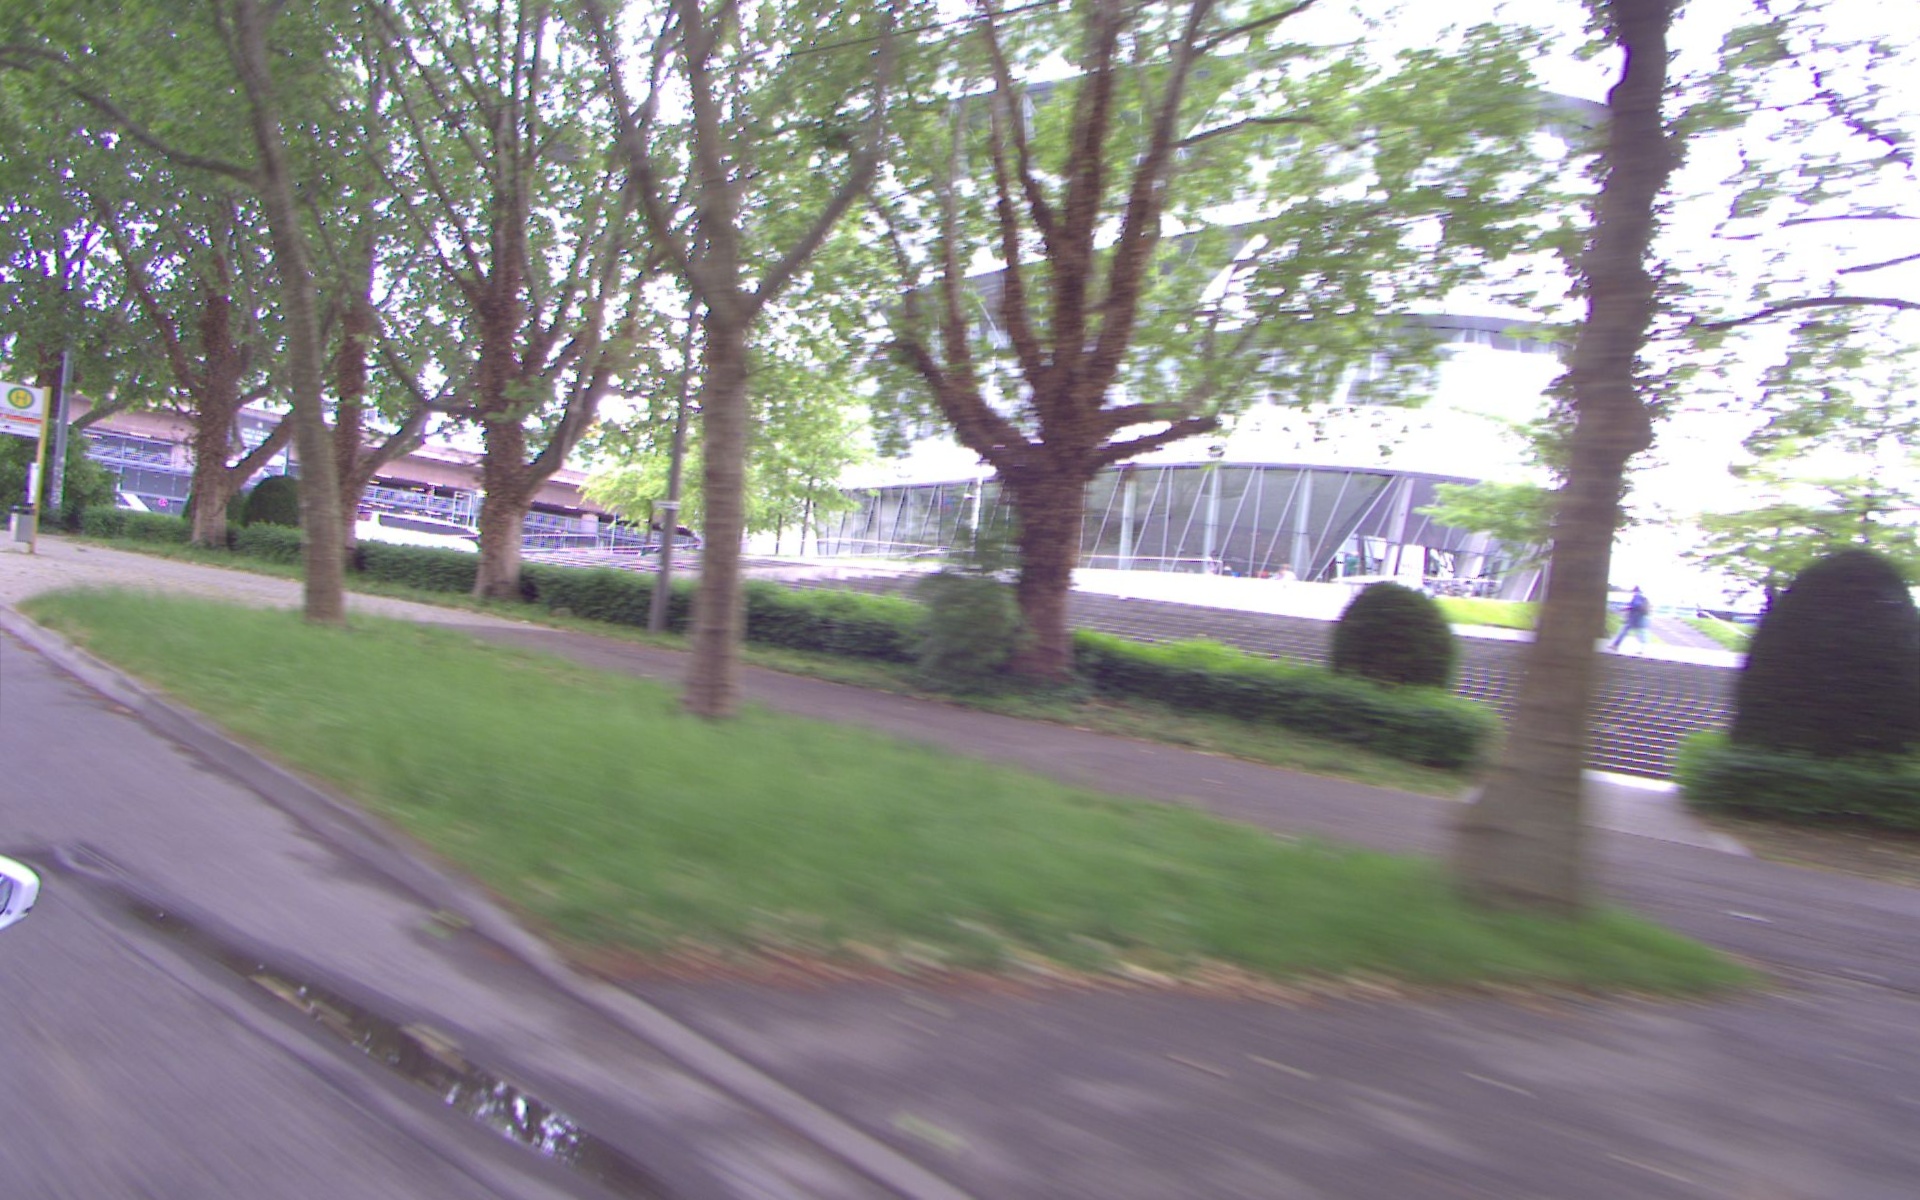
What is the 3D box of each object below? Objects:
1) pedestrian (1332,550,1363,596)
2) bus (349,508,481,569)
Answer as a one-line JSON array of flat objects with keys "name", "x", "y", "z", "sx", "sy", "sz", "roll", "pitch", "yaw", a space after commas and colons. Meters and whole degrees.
[{"name": "pedestrian", "x": 15.801, "y": -1.102, "z": 41.024, "sx": 0.831, "sy": 1.786, "sz": 0.673, "roll": 7, "pitch": 0, "yaw": -43}, {"name": "bus", "x": -50.218, "y": -5.592, "z": 93.261, "sx": 2.708, "sy": 3.980, "sz": 11.084, "roll": 7, "pitch": -1, "yaw": 24}]
